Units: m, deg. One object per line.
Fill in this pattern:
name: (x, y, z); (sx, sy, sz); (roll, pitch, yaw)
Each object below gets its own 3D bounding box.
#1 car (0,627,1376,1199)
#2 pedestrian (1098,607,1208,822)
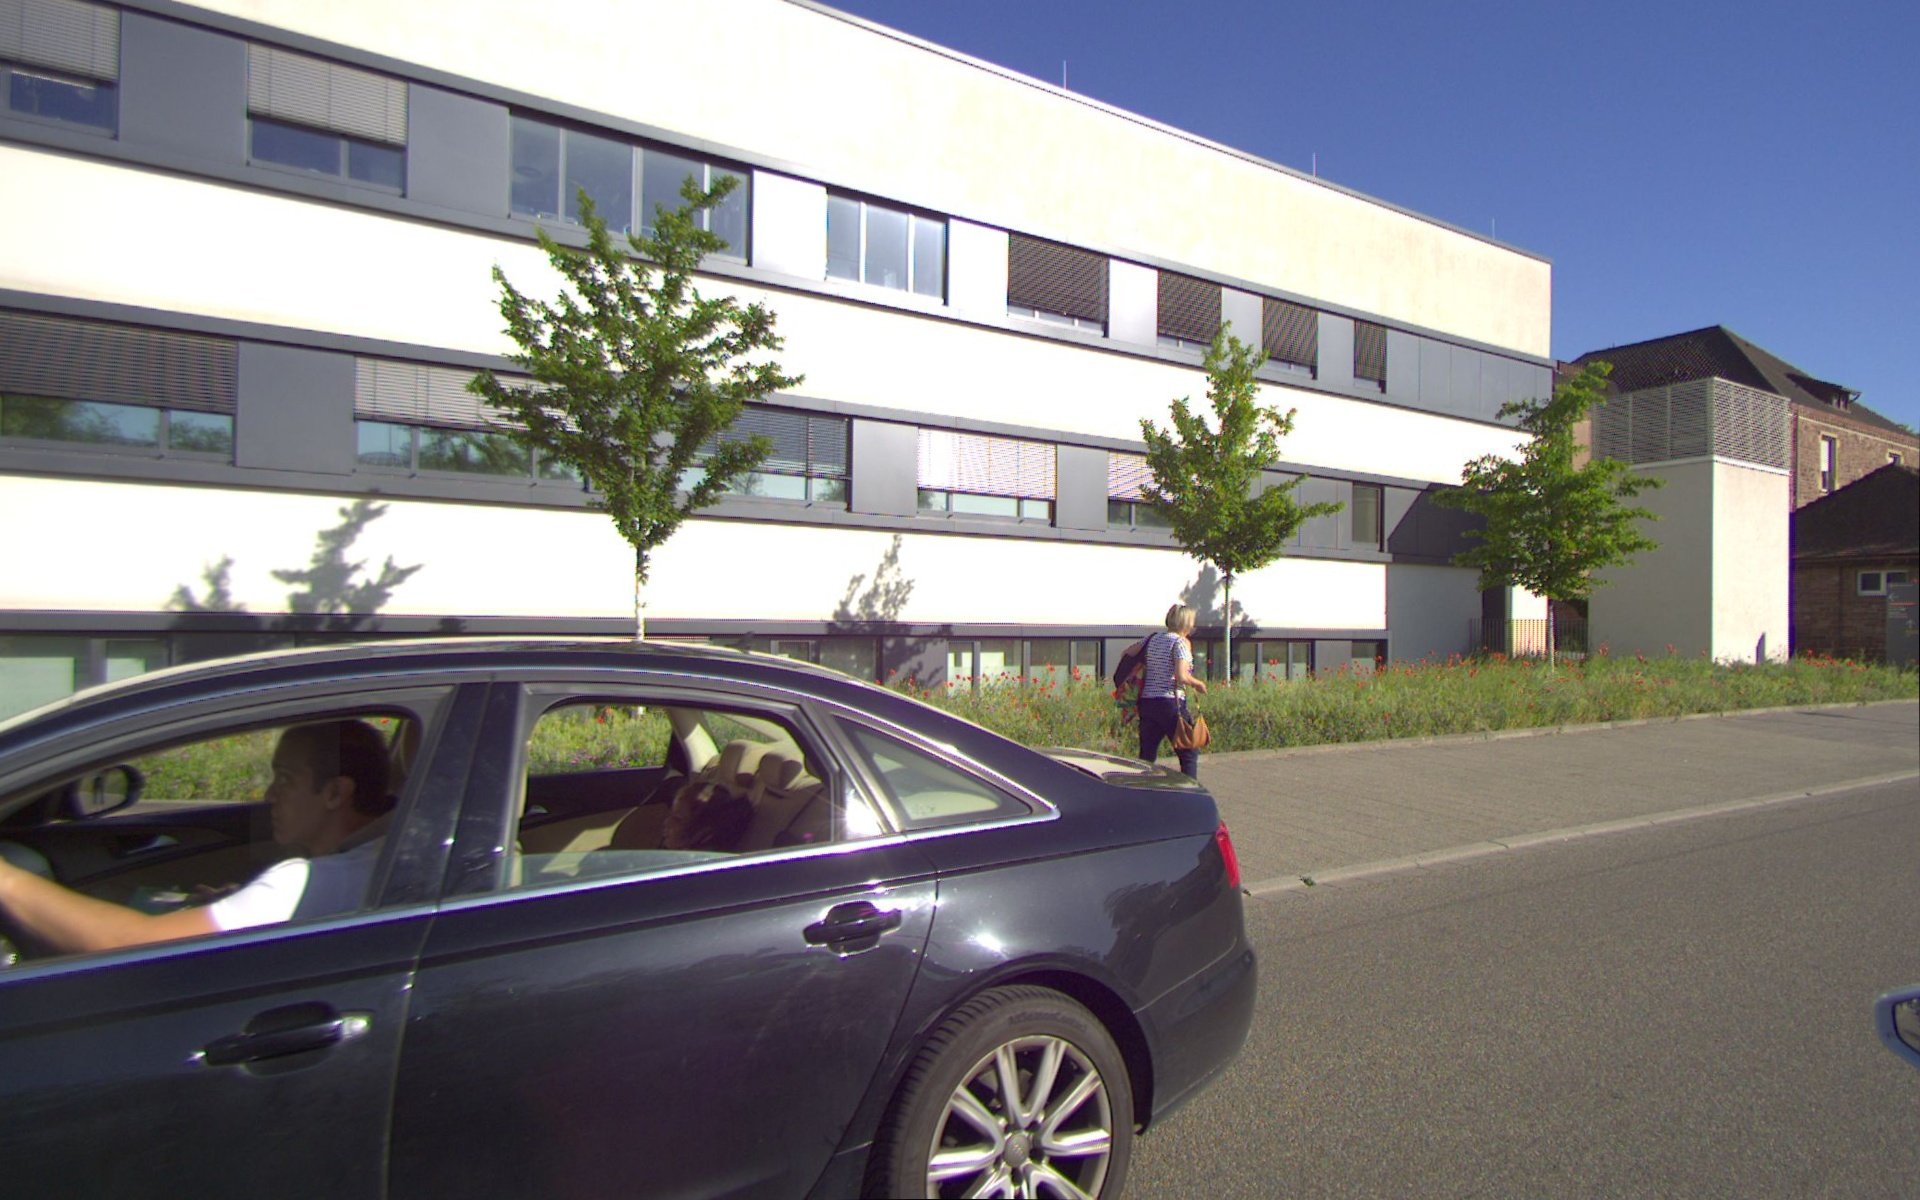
car: (-1.206, 0.804, 2.380); (4.485, 1.461, 1.753); (1, -2, -31)
pedestrian: (1.453, 0.829, 7.588); (0.600, 1.544, 0.536); (1, -1, -29)
